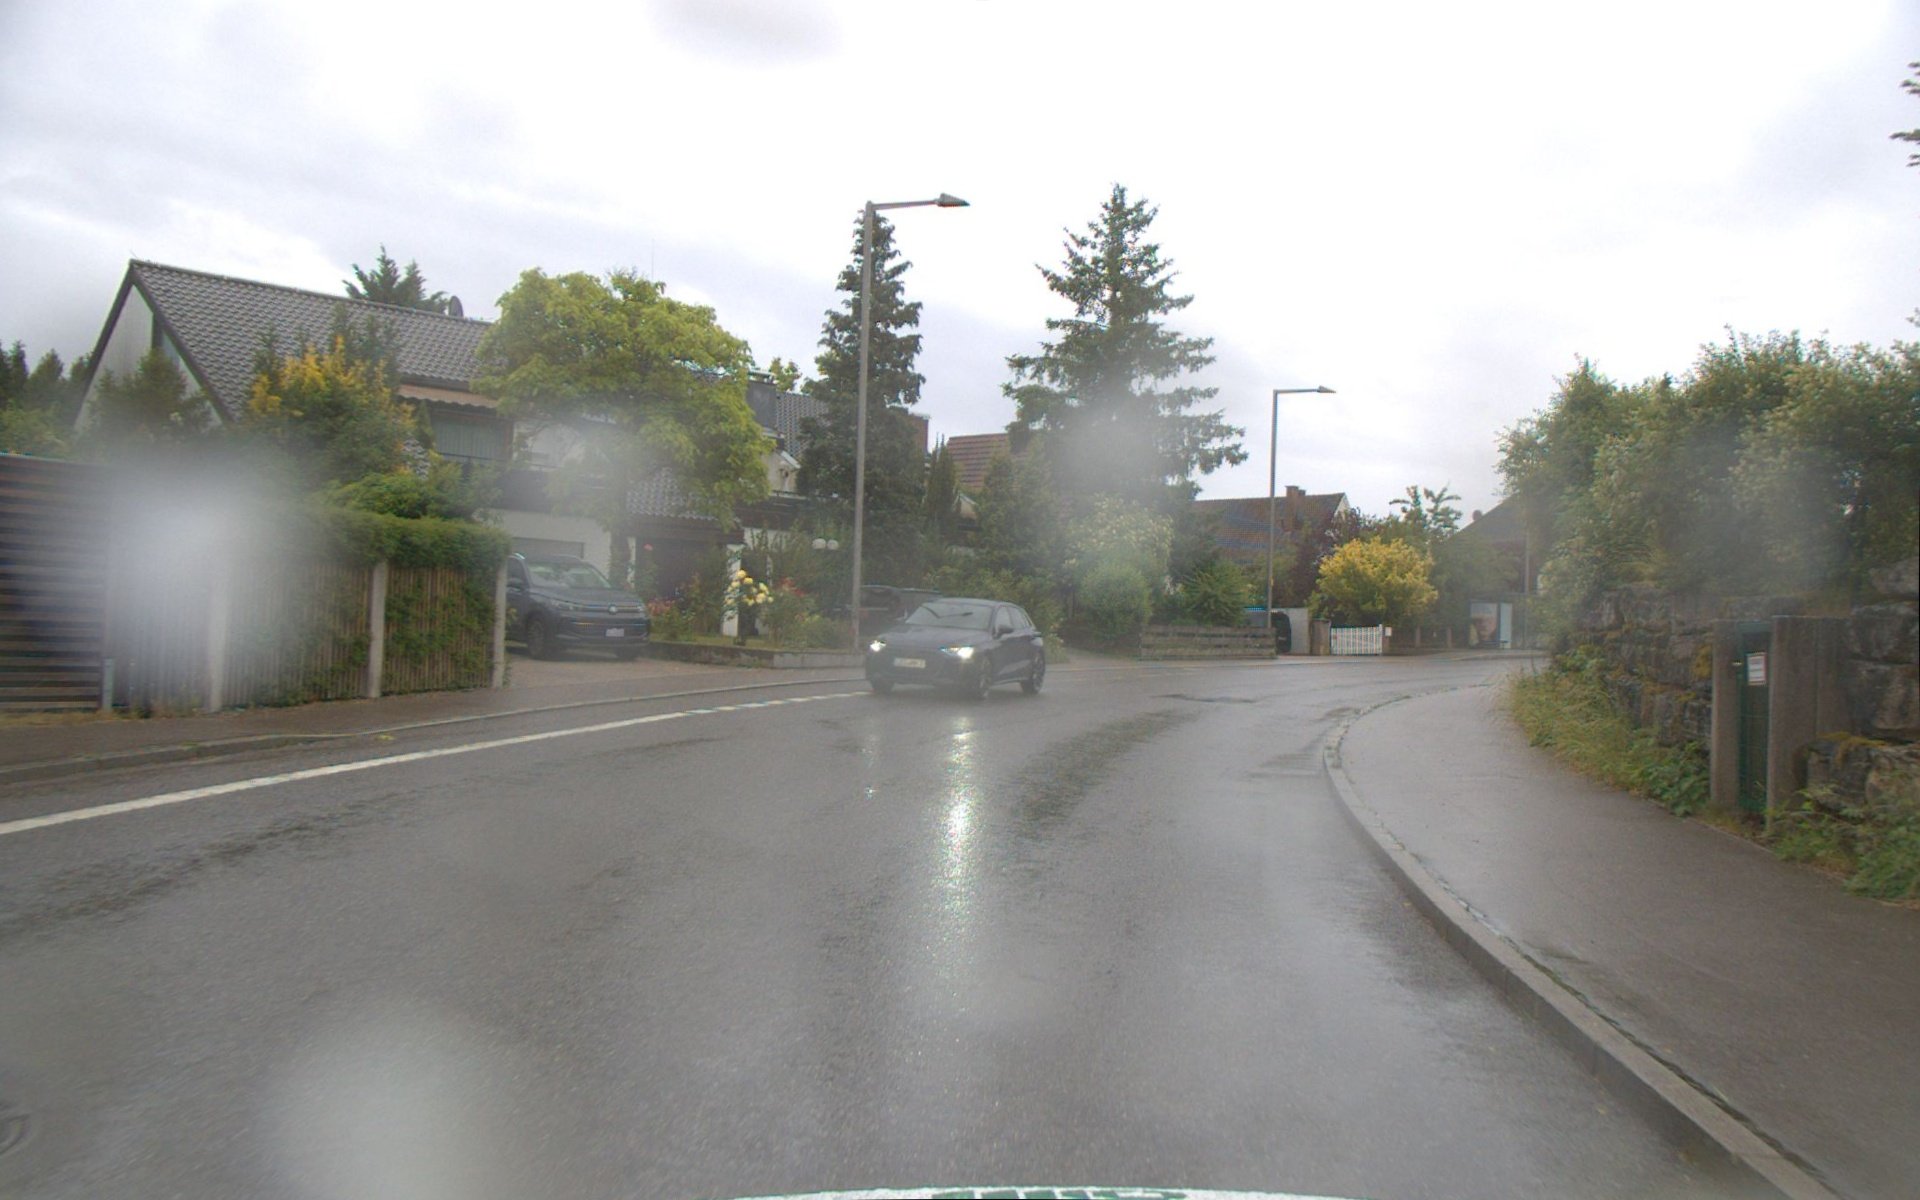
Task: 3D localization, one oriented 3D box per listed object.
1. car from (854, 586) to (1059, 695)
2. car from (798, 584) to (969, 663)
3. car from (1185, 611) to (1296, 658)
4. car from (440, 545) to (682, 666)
[{"bbox_3d":[0.050,0.591,25.296,1.741,1.445,4.165,3,0,20],"label":"car"},{"bbox_3d":[-1.730,0.483,36.241,1.917,1.413,3.954,5,0,-34],"label":"car"},{"bbox_3d":[11.210,1.371,66.223,3.933,1.648,1.986,2,0,45],"label":"car"},{"bbox_3d":[-6.671,0.066,27.480,3.932,1.659,2.001,5,0,43],"label":"car"}]
